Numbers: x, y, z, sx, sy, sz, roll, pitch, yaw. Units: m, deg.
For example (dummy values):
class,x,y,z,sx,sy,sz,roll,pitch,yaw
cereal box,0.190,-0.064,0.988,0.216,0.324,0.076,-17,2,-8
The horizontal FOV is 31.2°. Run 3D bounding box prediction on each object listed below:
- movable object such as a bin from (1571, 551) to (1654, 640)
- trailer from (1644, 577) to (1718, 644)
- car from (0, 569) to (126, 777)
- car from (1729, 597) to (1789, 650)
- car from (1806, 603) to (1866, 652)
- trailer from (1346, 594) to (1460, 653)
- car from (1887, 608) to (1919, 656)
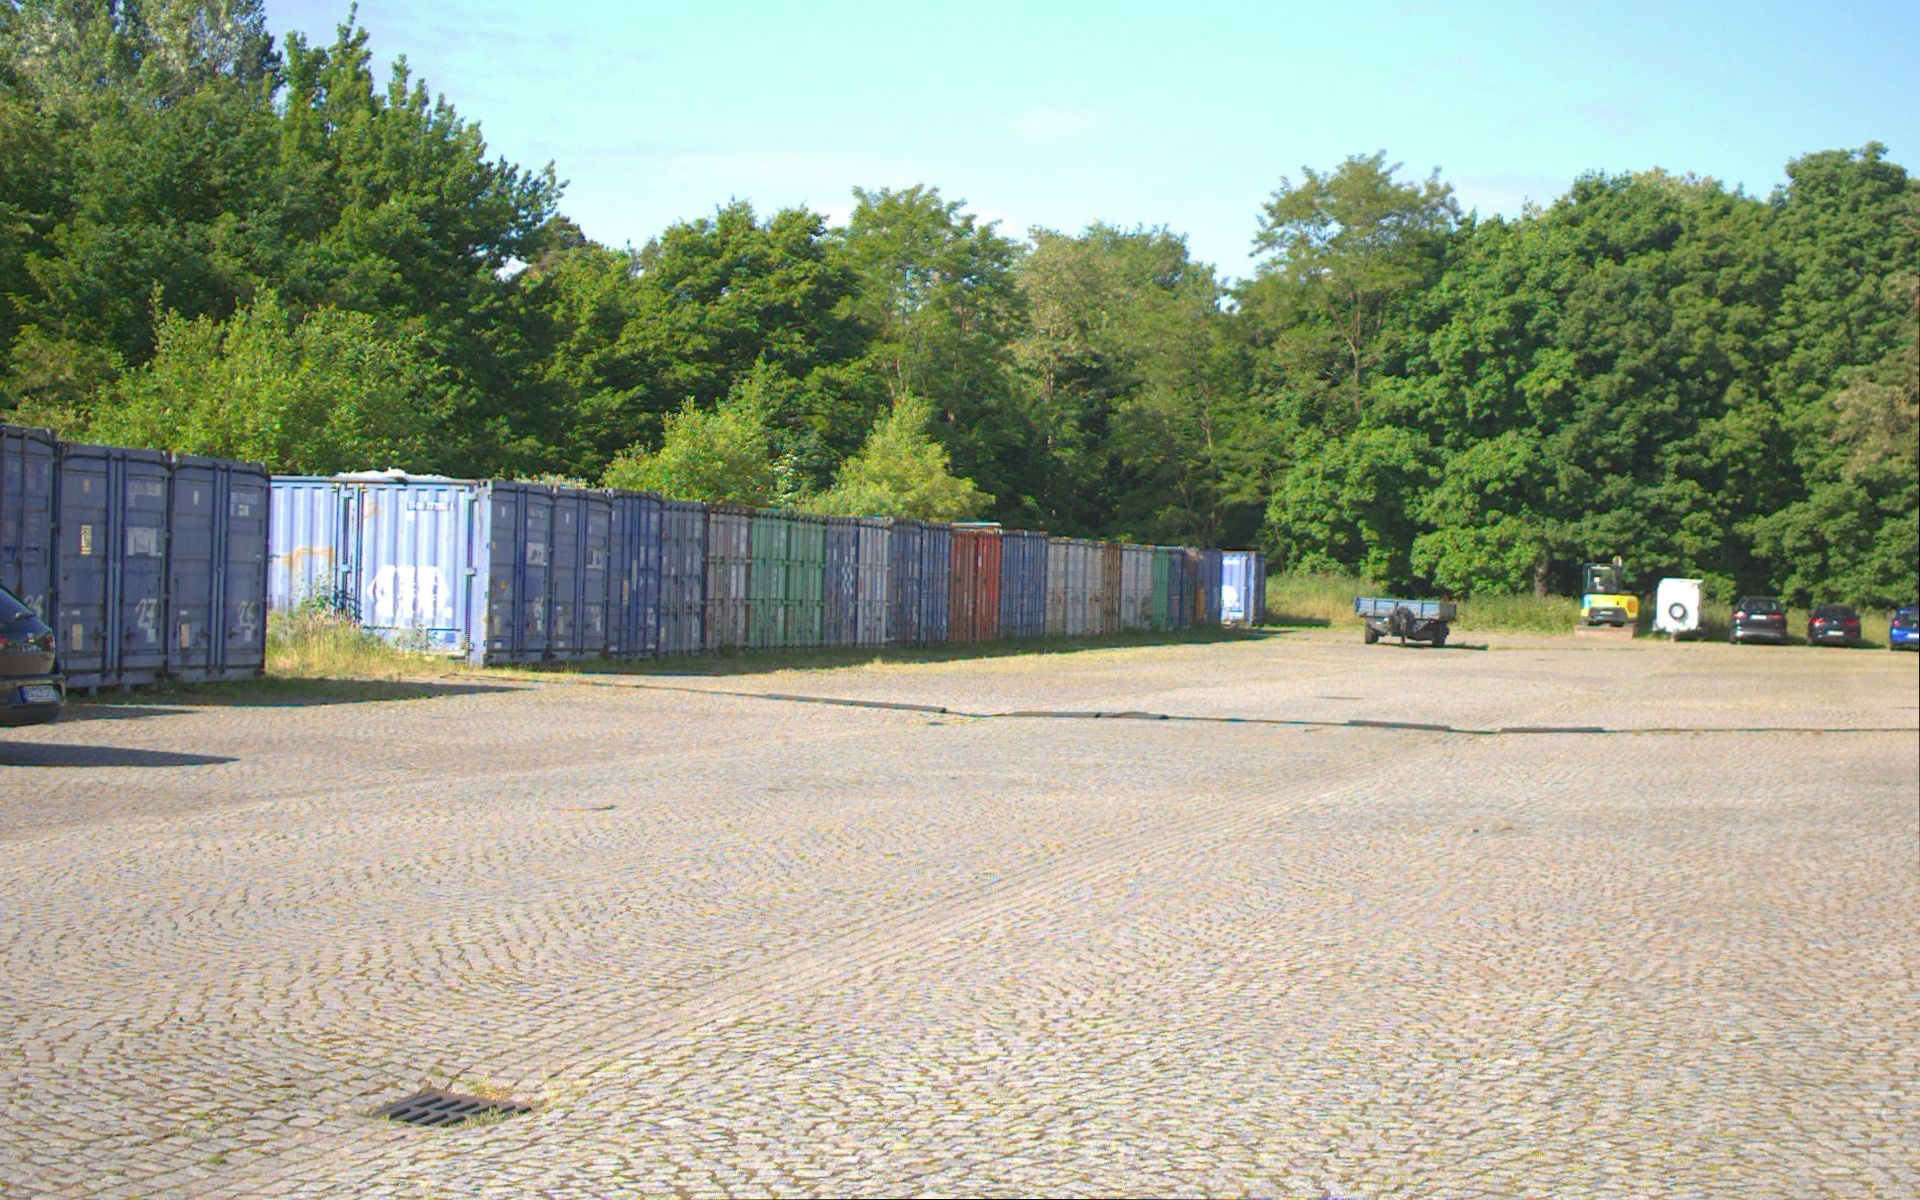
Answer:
class,x,y,z,sx,sy,sz,roll,pitch,yaw
movable object such as a bin,22.981,-0.191,120.889,2.308,2.887,5.747,3,2,15
trailer,25.123,0.346,119.713,2.194,2.087,5.747,3,2,14
car,-8.542,0.429,25.191,4.254,1.444,1.930,3,0,12
car,27.145,0.772,116.722,1.865,1.584,4.293,3,2,14
car,29.643,0.915,116.445,1.865,1.465,4.293,3,2,14
trailer,13.193,0.666,102.091,2.707,1.460,6.244,3,1,13
car,32.303,1.078,115.682,1.746,1.431,4.179,3,2,19
